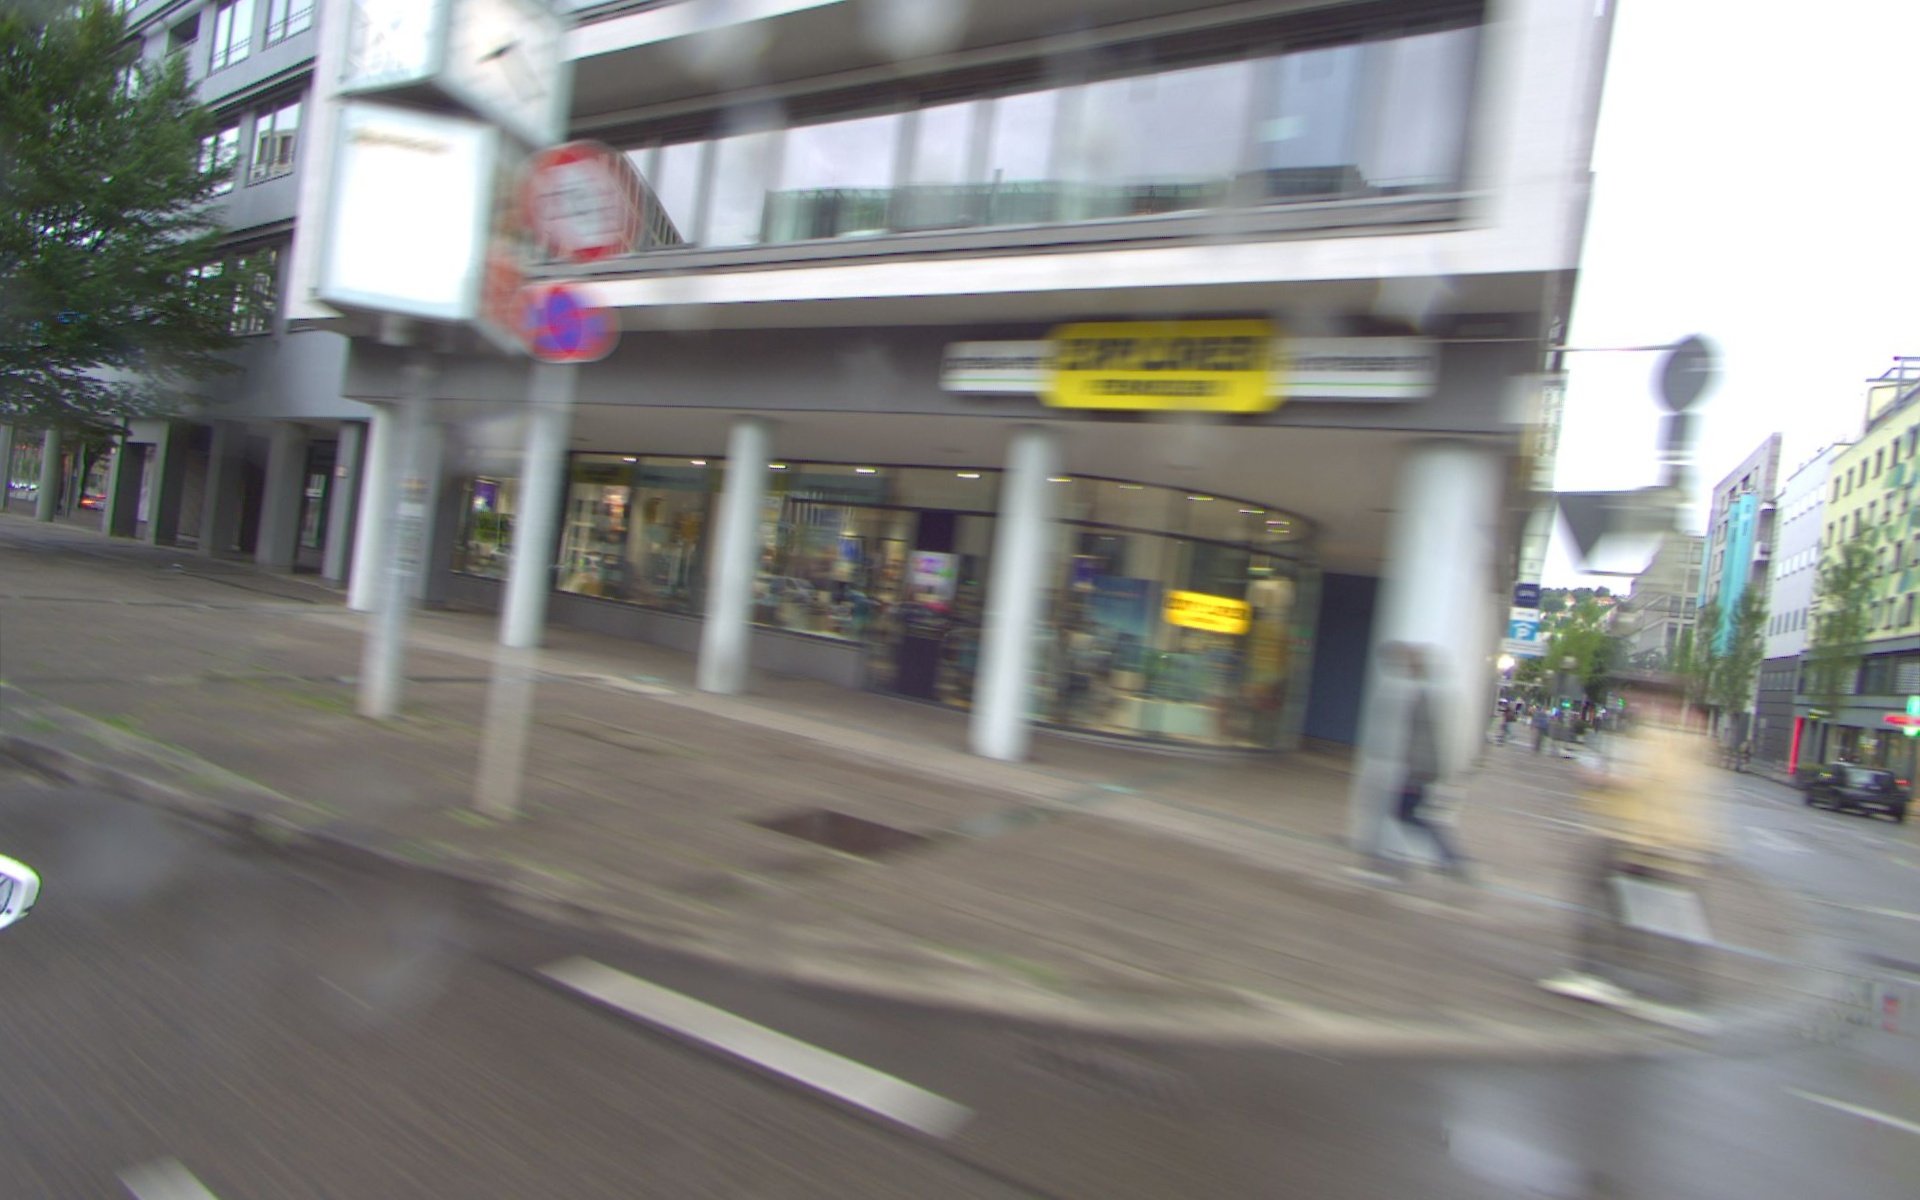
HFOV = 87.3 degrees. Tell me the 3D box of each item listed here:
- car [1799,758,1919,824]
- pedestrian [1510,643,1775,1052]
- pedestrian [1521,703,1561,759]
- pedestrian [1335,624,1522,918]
[{"bbox_3d":[26.135,5.509,29.383,1.647,1.406,3.998,6,-3,29],"label":"car"},{"bbox_3d":[3.489,1.198,5.194,0.866,1.803,0.640,8,-1,35],"label":"pedestrian"},{"bbox_3d":[20.851,4.685,36.126,0.944,1.854,1.041,7,-2,25],"label":"pedestrian"},{"bbox_3d":[3.302,1.153,7.071,0.880,1.803,0.793,8,-1,32],"label":"pedestrian"}]
